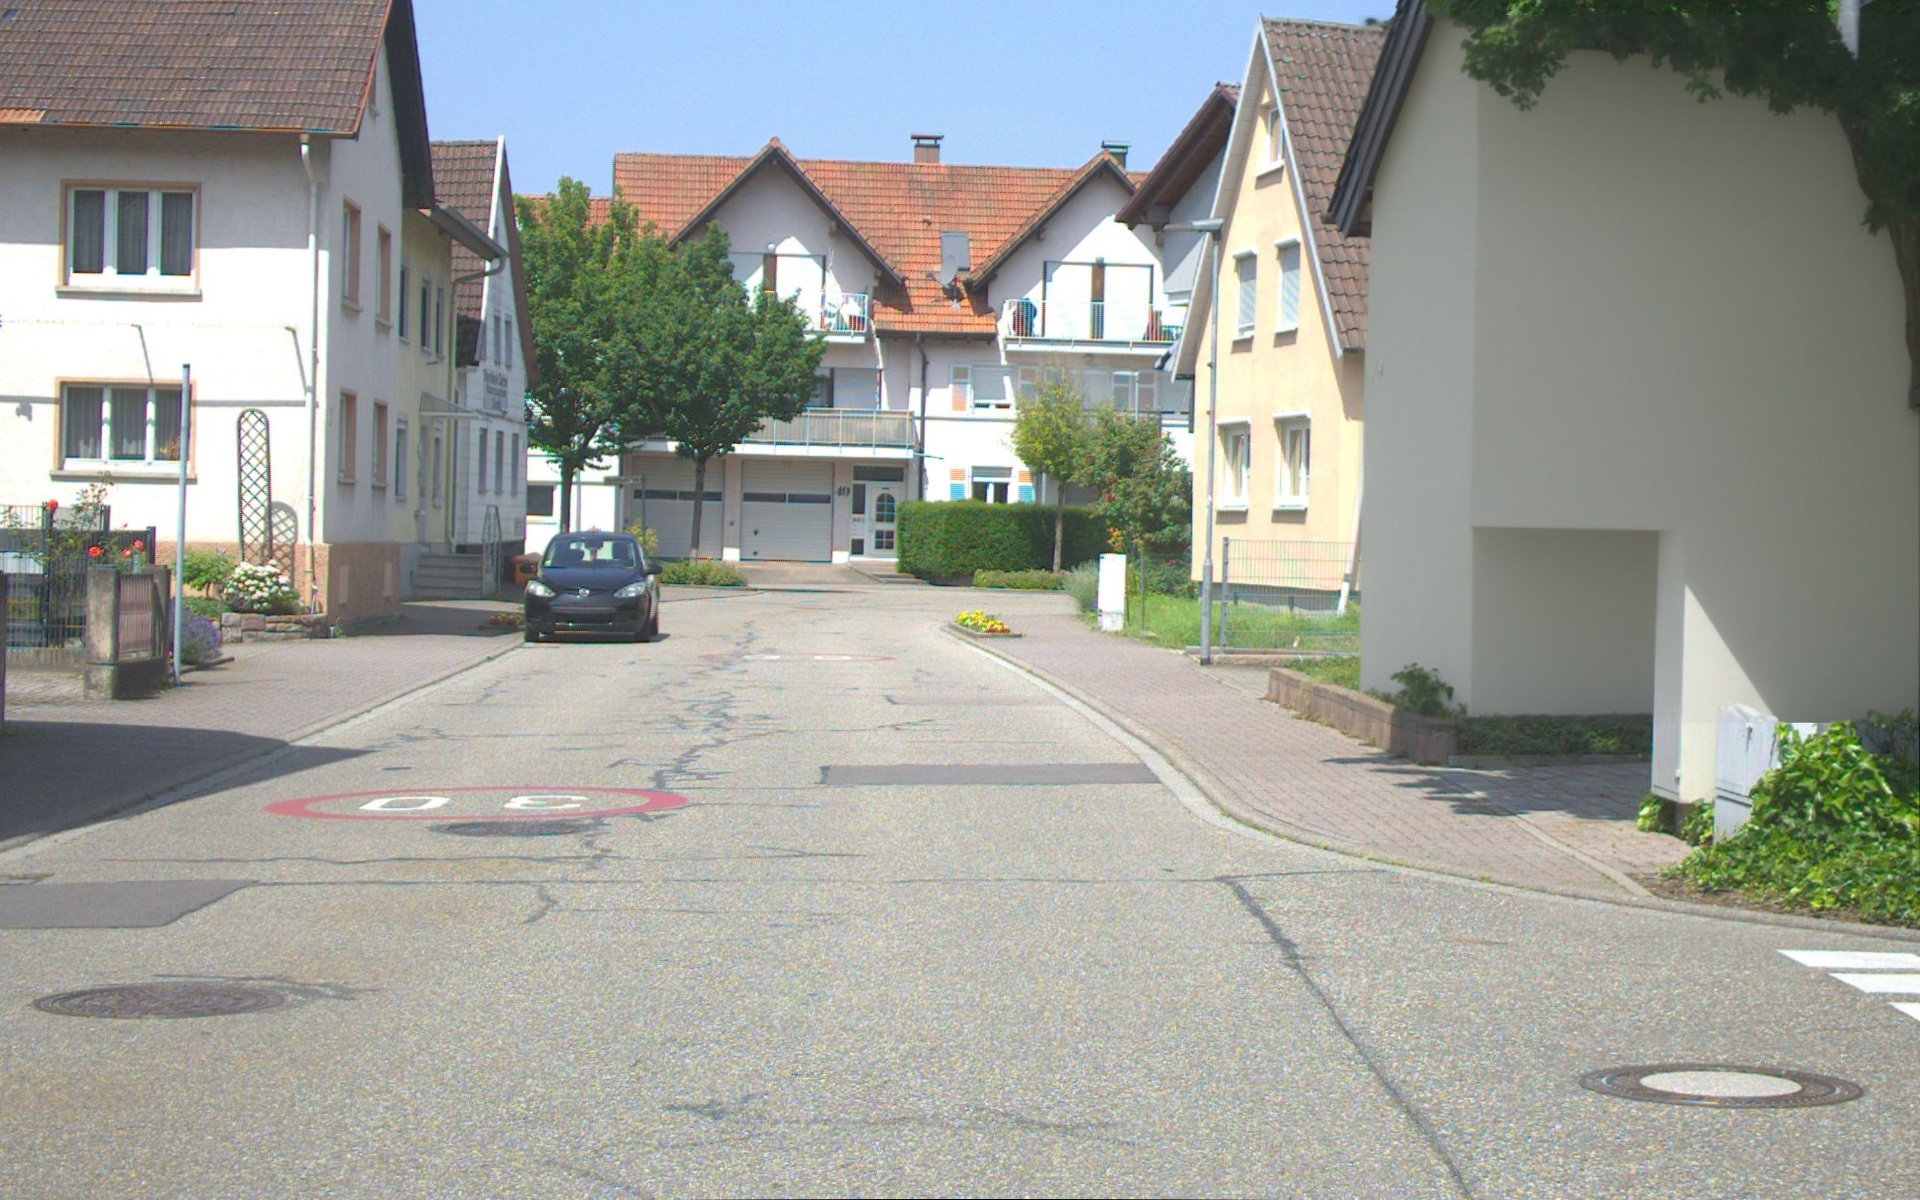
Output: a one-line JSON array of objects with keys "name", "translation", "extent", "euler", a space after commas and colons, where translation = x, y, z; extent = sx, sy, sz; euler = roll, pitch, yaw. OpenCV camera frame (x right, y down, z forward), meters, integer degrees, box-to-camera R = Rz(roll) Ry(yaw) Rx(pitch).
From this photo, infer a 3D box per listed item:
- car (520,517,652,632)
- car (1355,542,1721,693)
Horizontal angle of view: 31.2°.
[{"name": "car", "translation": [-5.070, -0.380, 46.982], "extent": [1.626, 1.481, 4.001], "euler": [0, 1, -4]}, {"name": "car", "translation": [5.348, 0.159, 31.943], "extent": [3.042, 1.341, 1.423], "euler": [1, 0, -9]}]
